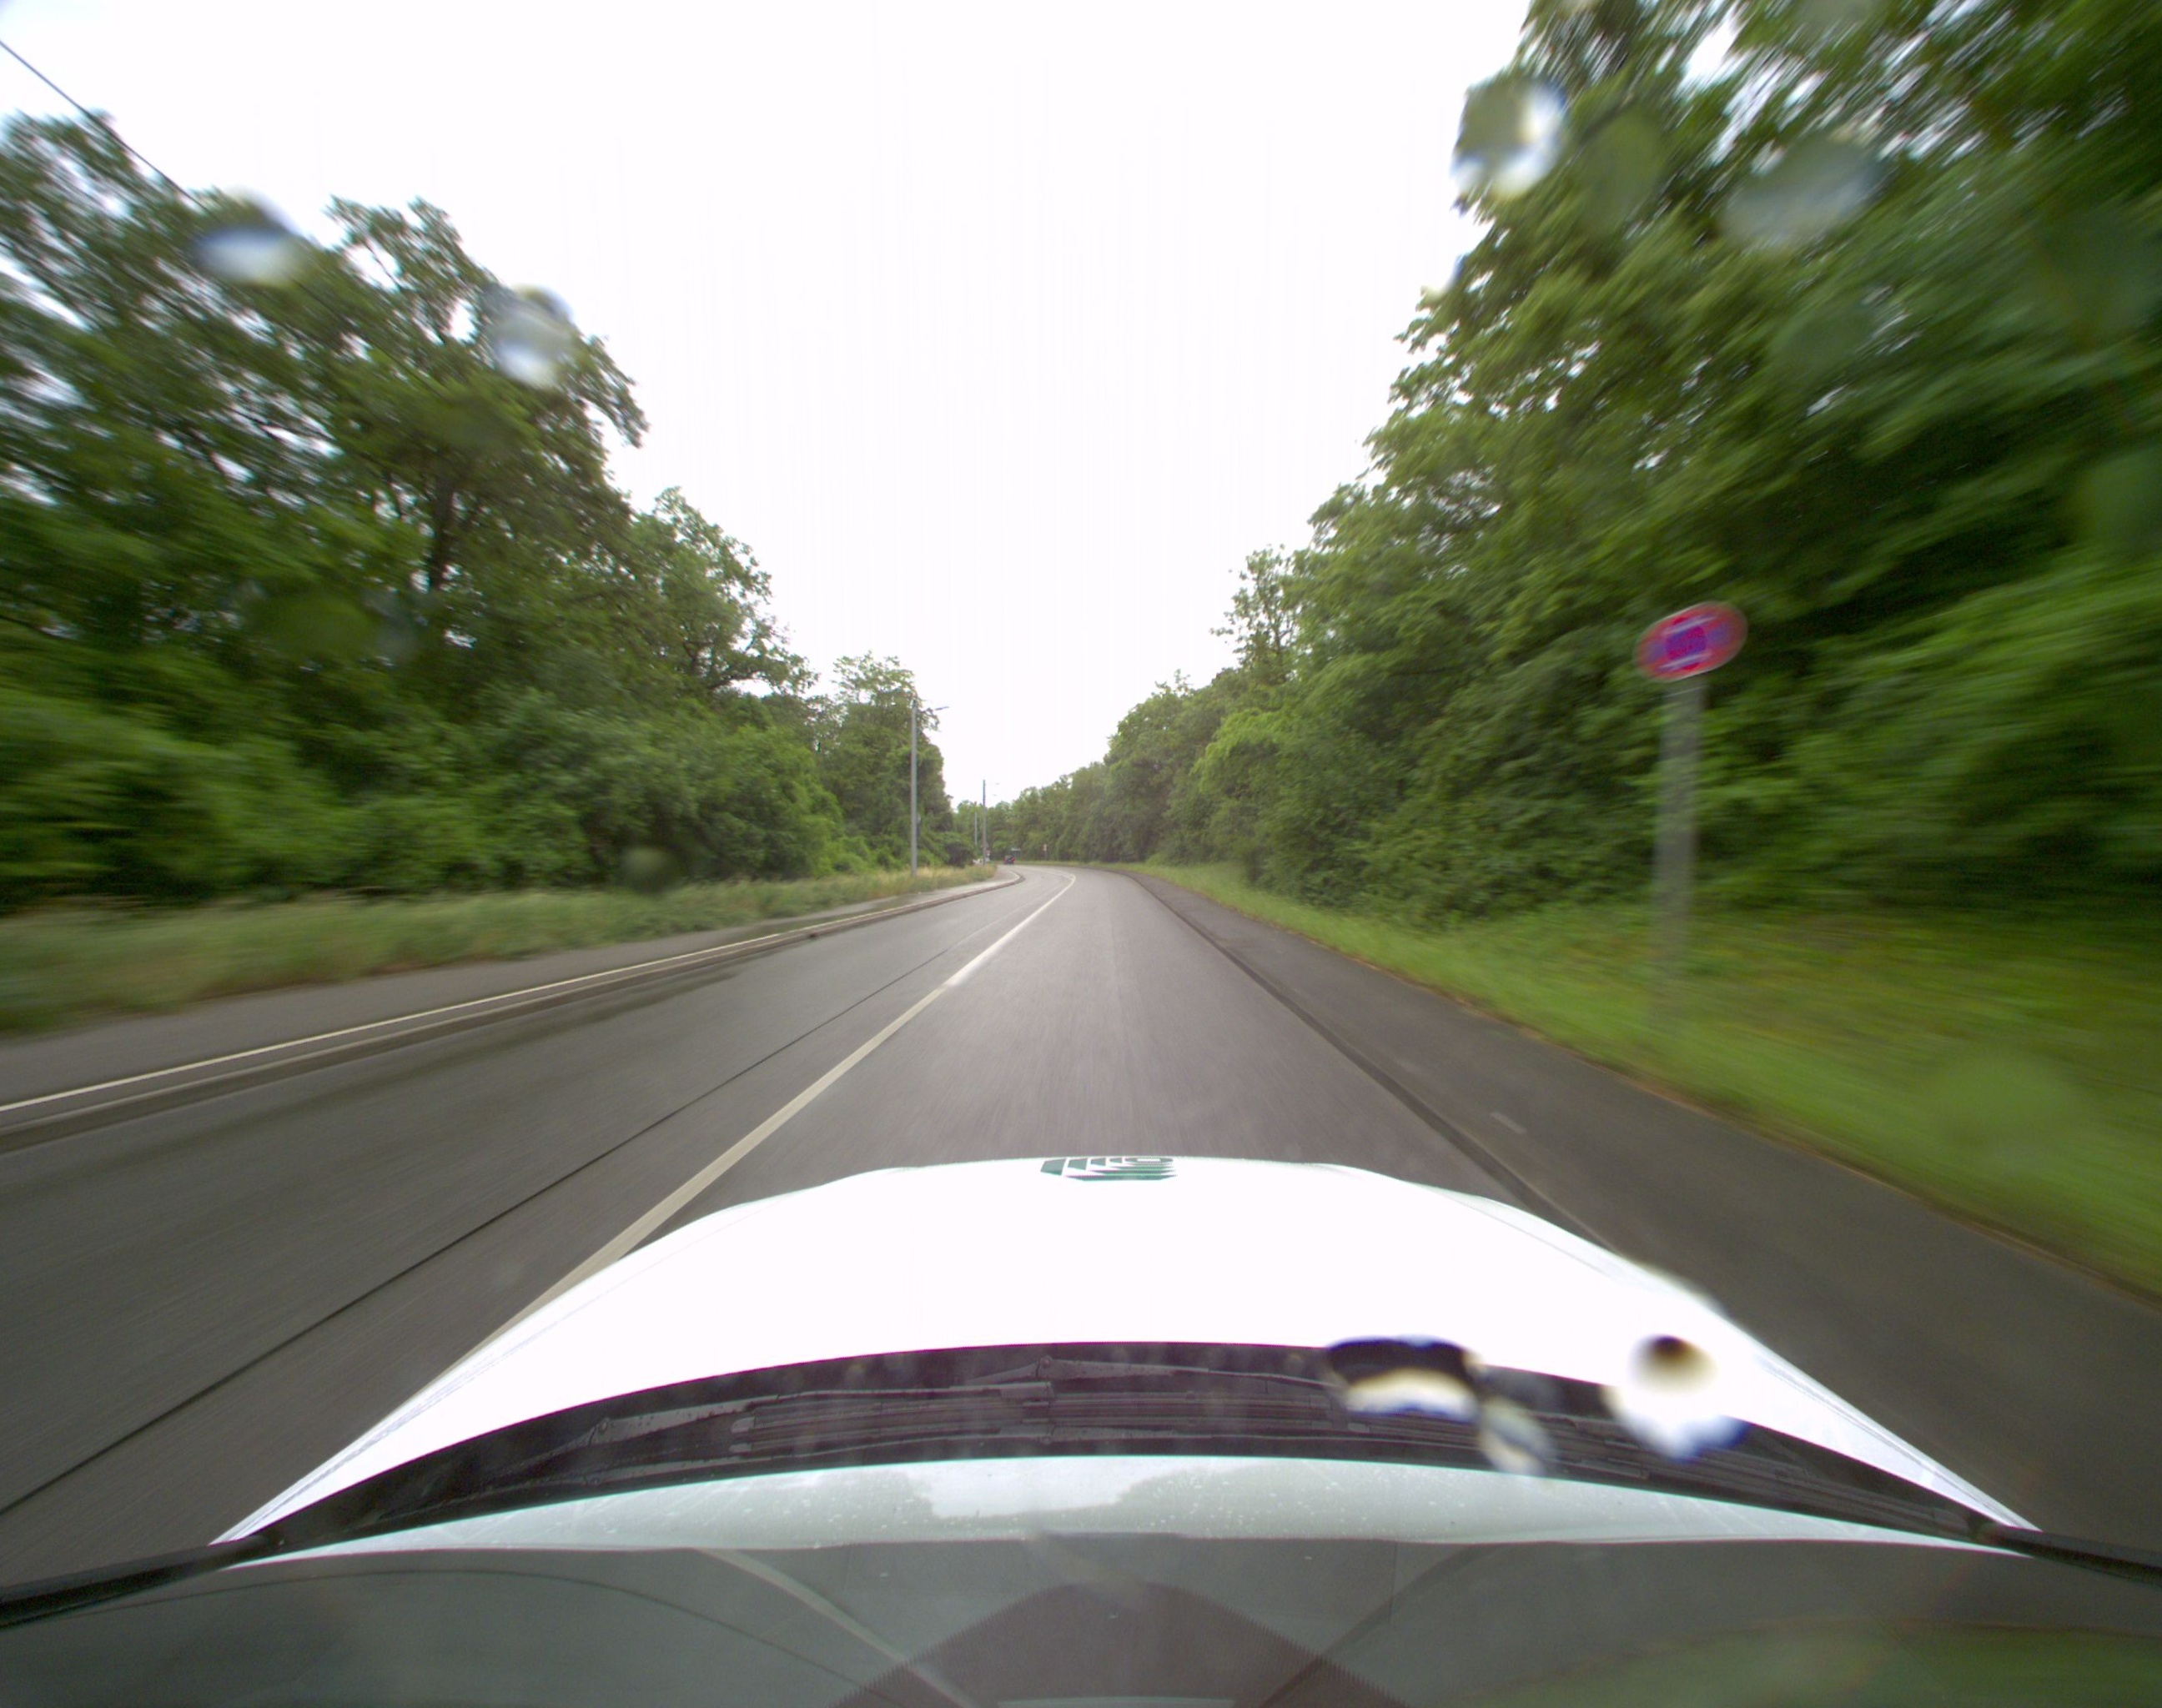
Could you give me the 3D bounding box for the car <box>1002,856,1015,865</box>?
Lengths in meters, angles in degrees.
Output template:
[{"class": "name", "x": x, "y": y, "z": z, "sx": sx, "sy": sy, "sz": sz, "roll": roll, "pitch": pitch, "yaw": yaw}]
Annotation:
[{"class": "car", "x": -15.252, "y": 1.341, "z": 171.046, "sx": 1.873, "sy": 1.596, "sz": 3.975, "roll": 4, "pitch": -1, "yaw": -18}]
